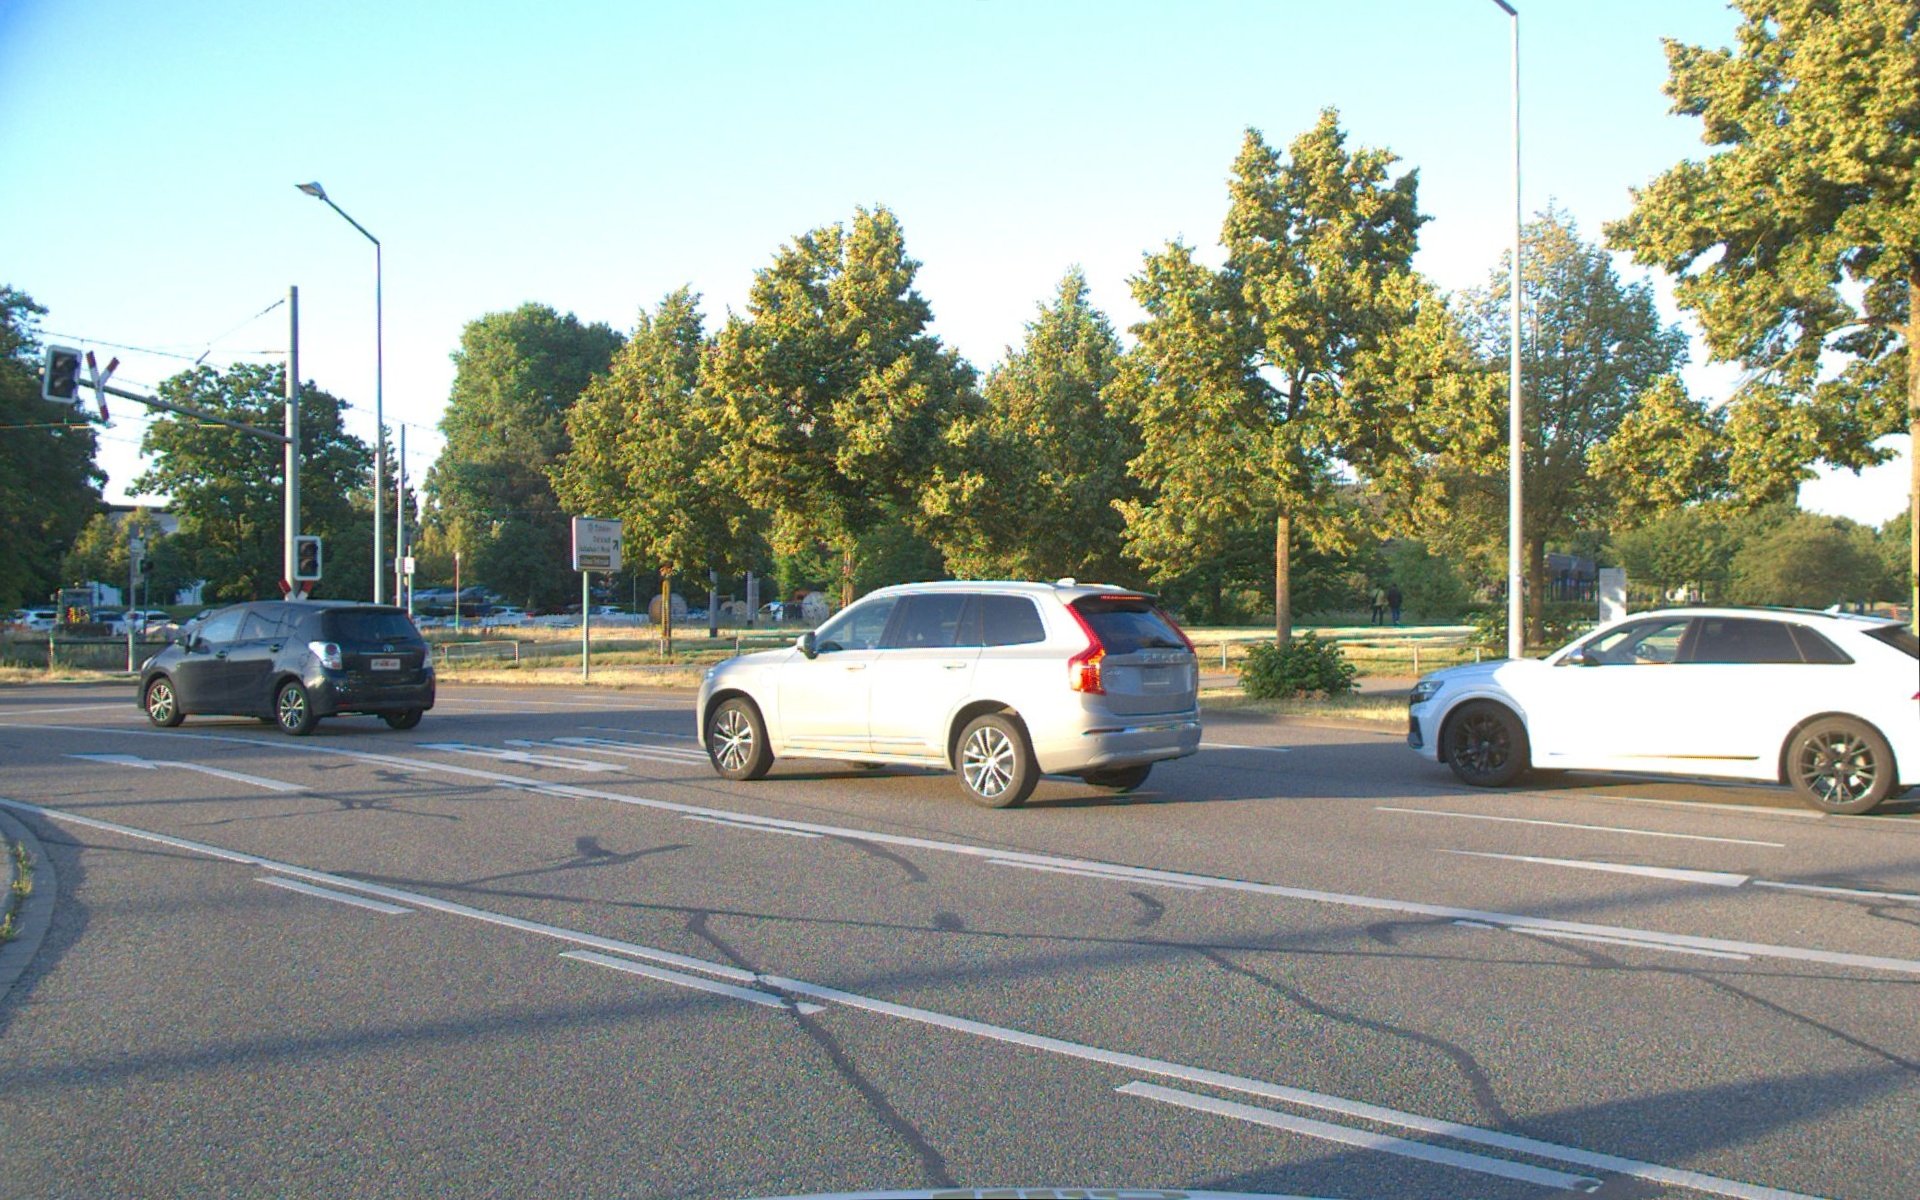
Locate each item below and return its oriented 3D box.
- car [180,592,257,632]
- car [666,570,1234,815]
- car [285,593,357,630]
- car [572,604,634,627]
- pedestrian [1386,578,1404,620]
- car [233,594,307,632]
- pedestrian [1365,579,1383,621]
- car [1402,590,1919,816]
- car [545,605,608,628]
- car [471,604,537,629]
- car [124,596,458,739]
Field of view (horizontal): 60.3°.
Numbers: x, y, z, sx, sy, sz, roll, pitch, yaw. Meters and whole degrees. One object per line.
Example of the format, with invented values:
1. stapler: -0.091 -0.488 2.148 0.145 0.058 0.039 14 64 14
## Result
1. car: -40.576 0.623 90.482 3.914 2.135 1.995 0 0 31
2. car: -0.215 0.695 14.326 4.827 1.785 1.913 0 -1 39
3. car: -37.257 0.649 96.388 3.914 2.135 1.995 0 0 31
4. car: -24.926 1.058 115.528 3.913 1.578 1.996 0 0 30
5. pedestrian: 17.269 -0.051 65.697 0.519 1.655 0.618 0 0 34
6. car: -39.004 0.722 93.475 3.914 2.135 1.995 0 0 31
7. pedestrian: 16.449 -0.002 65.761 0.522 1.655 0.578 0 0 37
8. car: 6.653 0.796 14.869 4.846 1.740 1.905 1 1 38
9. car: -26.390 1.133 113.737 3.913 1.578 1.996 0 0 30
10. car: -29.642 1.085 107.440 3.913 1.578 1.996 0 0 30
11. car: -8.597 0.799 21.142 4.362 1.662 1.798 0 -1 33
